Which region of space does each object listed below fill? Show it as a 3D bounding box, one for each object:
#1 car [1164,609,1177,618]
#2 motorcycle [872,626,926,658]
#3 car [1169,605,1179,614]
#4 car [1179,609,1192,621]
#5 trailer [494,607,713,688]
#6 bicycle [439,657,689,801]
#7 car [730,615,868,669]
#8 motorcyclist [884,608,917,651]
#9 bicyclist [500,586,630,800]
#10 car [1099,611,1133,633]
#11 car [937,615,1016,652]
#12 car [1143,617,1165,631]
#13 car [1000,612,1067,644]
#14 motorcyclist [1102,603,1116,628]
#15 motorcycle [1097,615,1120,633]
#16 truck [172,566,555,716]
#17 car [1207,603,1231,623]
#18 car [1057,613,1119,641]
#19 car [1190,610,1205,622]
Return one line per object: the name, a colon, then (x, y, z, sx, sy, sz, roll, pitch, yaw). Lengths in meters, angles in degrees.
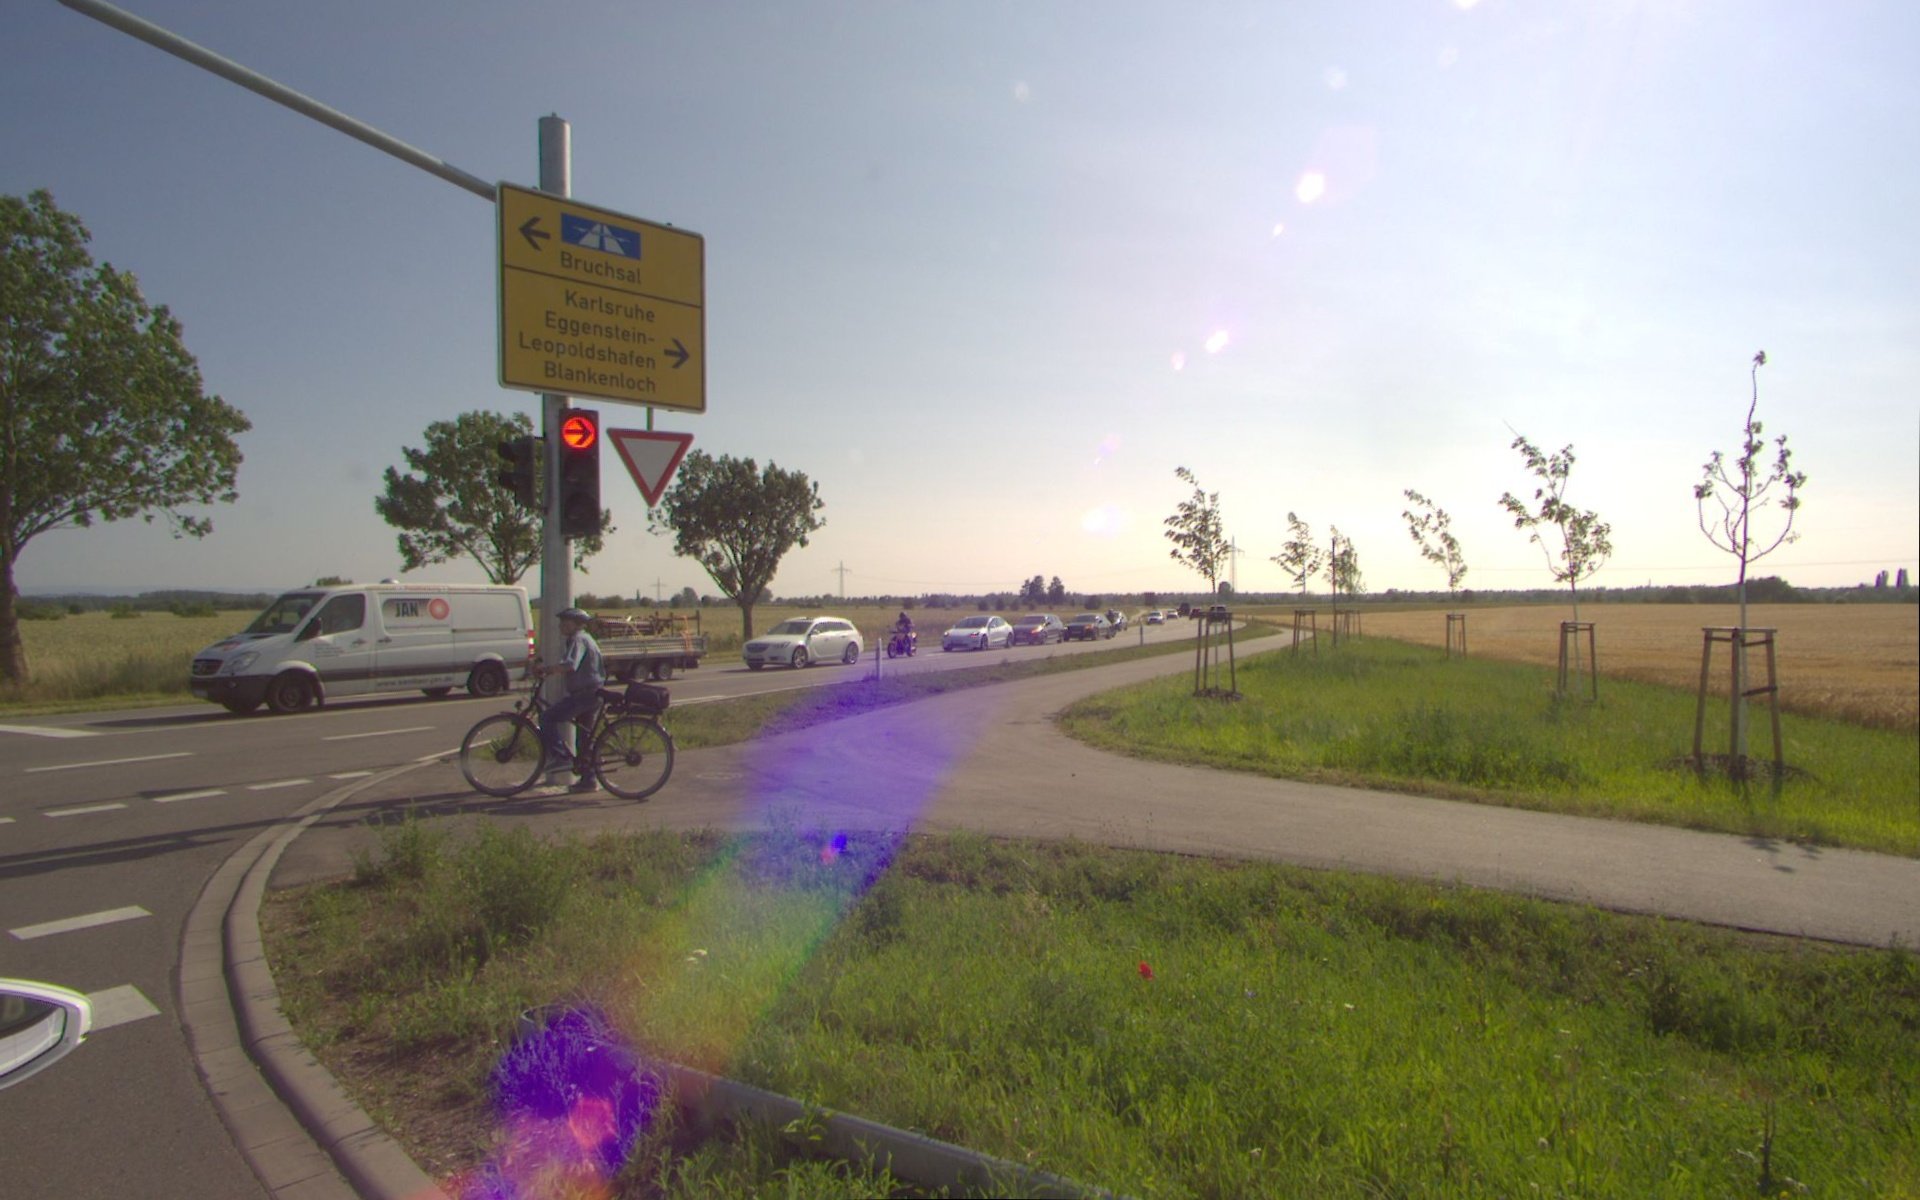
car: (31.912, 2.062, 151.799, 1.661, 1.421, 3.995, -2, -1, 16)
motorcycle: (-2.198, 1.529, 36.647, 0.885, 1.057, 2.419, -1, 0, 26)
car: (48.114, 2.123, 225.310, 1.899, 1.822, 3.886, 0, -2, 8)
car: (41.236, 2.777, 183.034, 2.022, 2.039, 4.000, 0, -2, 9)
trailer: (-8.494, 1.081, 24.385, 1.951, 1.760, 4.991, -1, -1, 29)
bicycle: (-3.422, 1.131, 8.829, 1.910, 1.165, 0.681, 3, -2, -13)
car: (-4.858, 1.245, 30.850, 1.738, 1.511, 4.690, -1, -1, 27)
motorcyclist: (-2.174, 1.066, 36.657, 0.670, 1.535, 1.176, -1, 0, 27)
bicyclist: (-3.456, 0.811, 8.824, 0.901, 1.787, 0.619, 3, -2, -13)
car: (12.668, 1.789, 81.349, 1.859, 1.646, 3.991, -3, -2, 21)
car: (0.778, 1.421, 42.924, 1.864, 1.485, 4.264, 1, -1, 24)
car: (21.273, 2.590, 109.683, 1.607, 1.394, 4.412, -3, -2, 21)
car: (3.654, 1.358, 49.139, 1.866, 1.480, 4.292, -1, -1, 25)
motorcyclist: (9.107, 0.920, 61.151, 0.669, 1.515, 0.844, -1, 0, 25)
motorcycle: (9.111, 1.456, 61.243, 0.859, 1.087, 1.962, -1, 0, 25)
truck: (-11.211, 0.714, 19.494, 2.041, 2.436, 6.168, -1, -1, 31)
car: (25.216, 1.280, 97.395, 1.813, 1.857, 4.459, 0, 0, 20)
car: (7.153, 1.472, 55.524, 1.866, 1.455, 4.779, -1, -1, 27)
car: (33.486, 2.241, 140.947, 1.942, 1.703, 4.102, -1, -1, 15)
